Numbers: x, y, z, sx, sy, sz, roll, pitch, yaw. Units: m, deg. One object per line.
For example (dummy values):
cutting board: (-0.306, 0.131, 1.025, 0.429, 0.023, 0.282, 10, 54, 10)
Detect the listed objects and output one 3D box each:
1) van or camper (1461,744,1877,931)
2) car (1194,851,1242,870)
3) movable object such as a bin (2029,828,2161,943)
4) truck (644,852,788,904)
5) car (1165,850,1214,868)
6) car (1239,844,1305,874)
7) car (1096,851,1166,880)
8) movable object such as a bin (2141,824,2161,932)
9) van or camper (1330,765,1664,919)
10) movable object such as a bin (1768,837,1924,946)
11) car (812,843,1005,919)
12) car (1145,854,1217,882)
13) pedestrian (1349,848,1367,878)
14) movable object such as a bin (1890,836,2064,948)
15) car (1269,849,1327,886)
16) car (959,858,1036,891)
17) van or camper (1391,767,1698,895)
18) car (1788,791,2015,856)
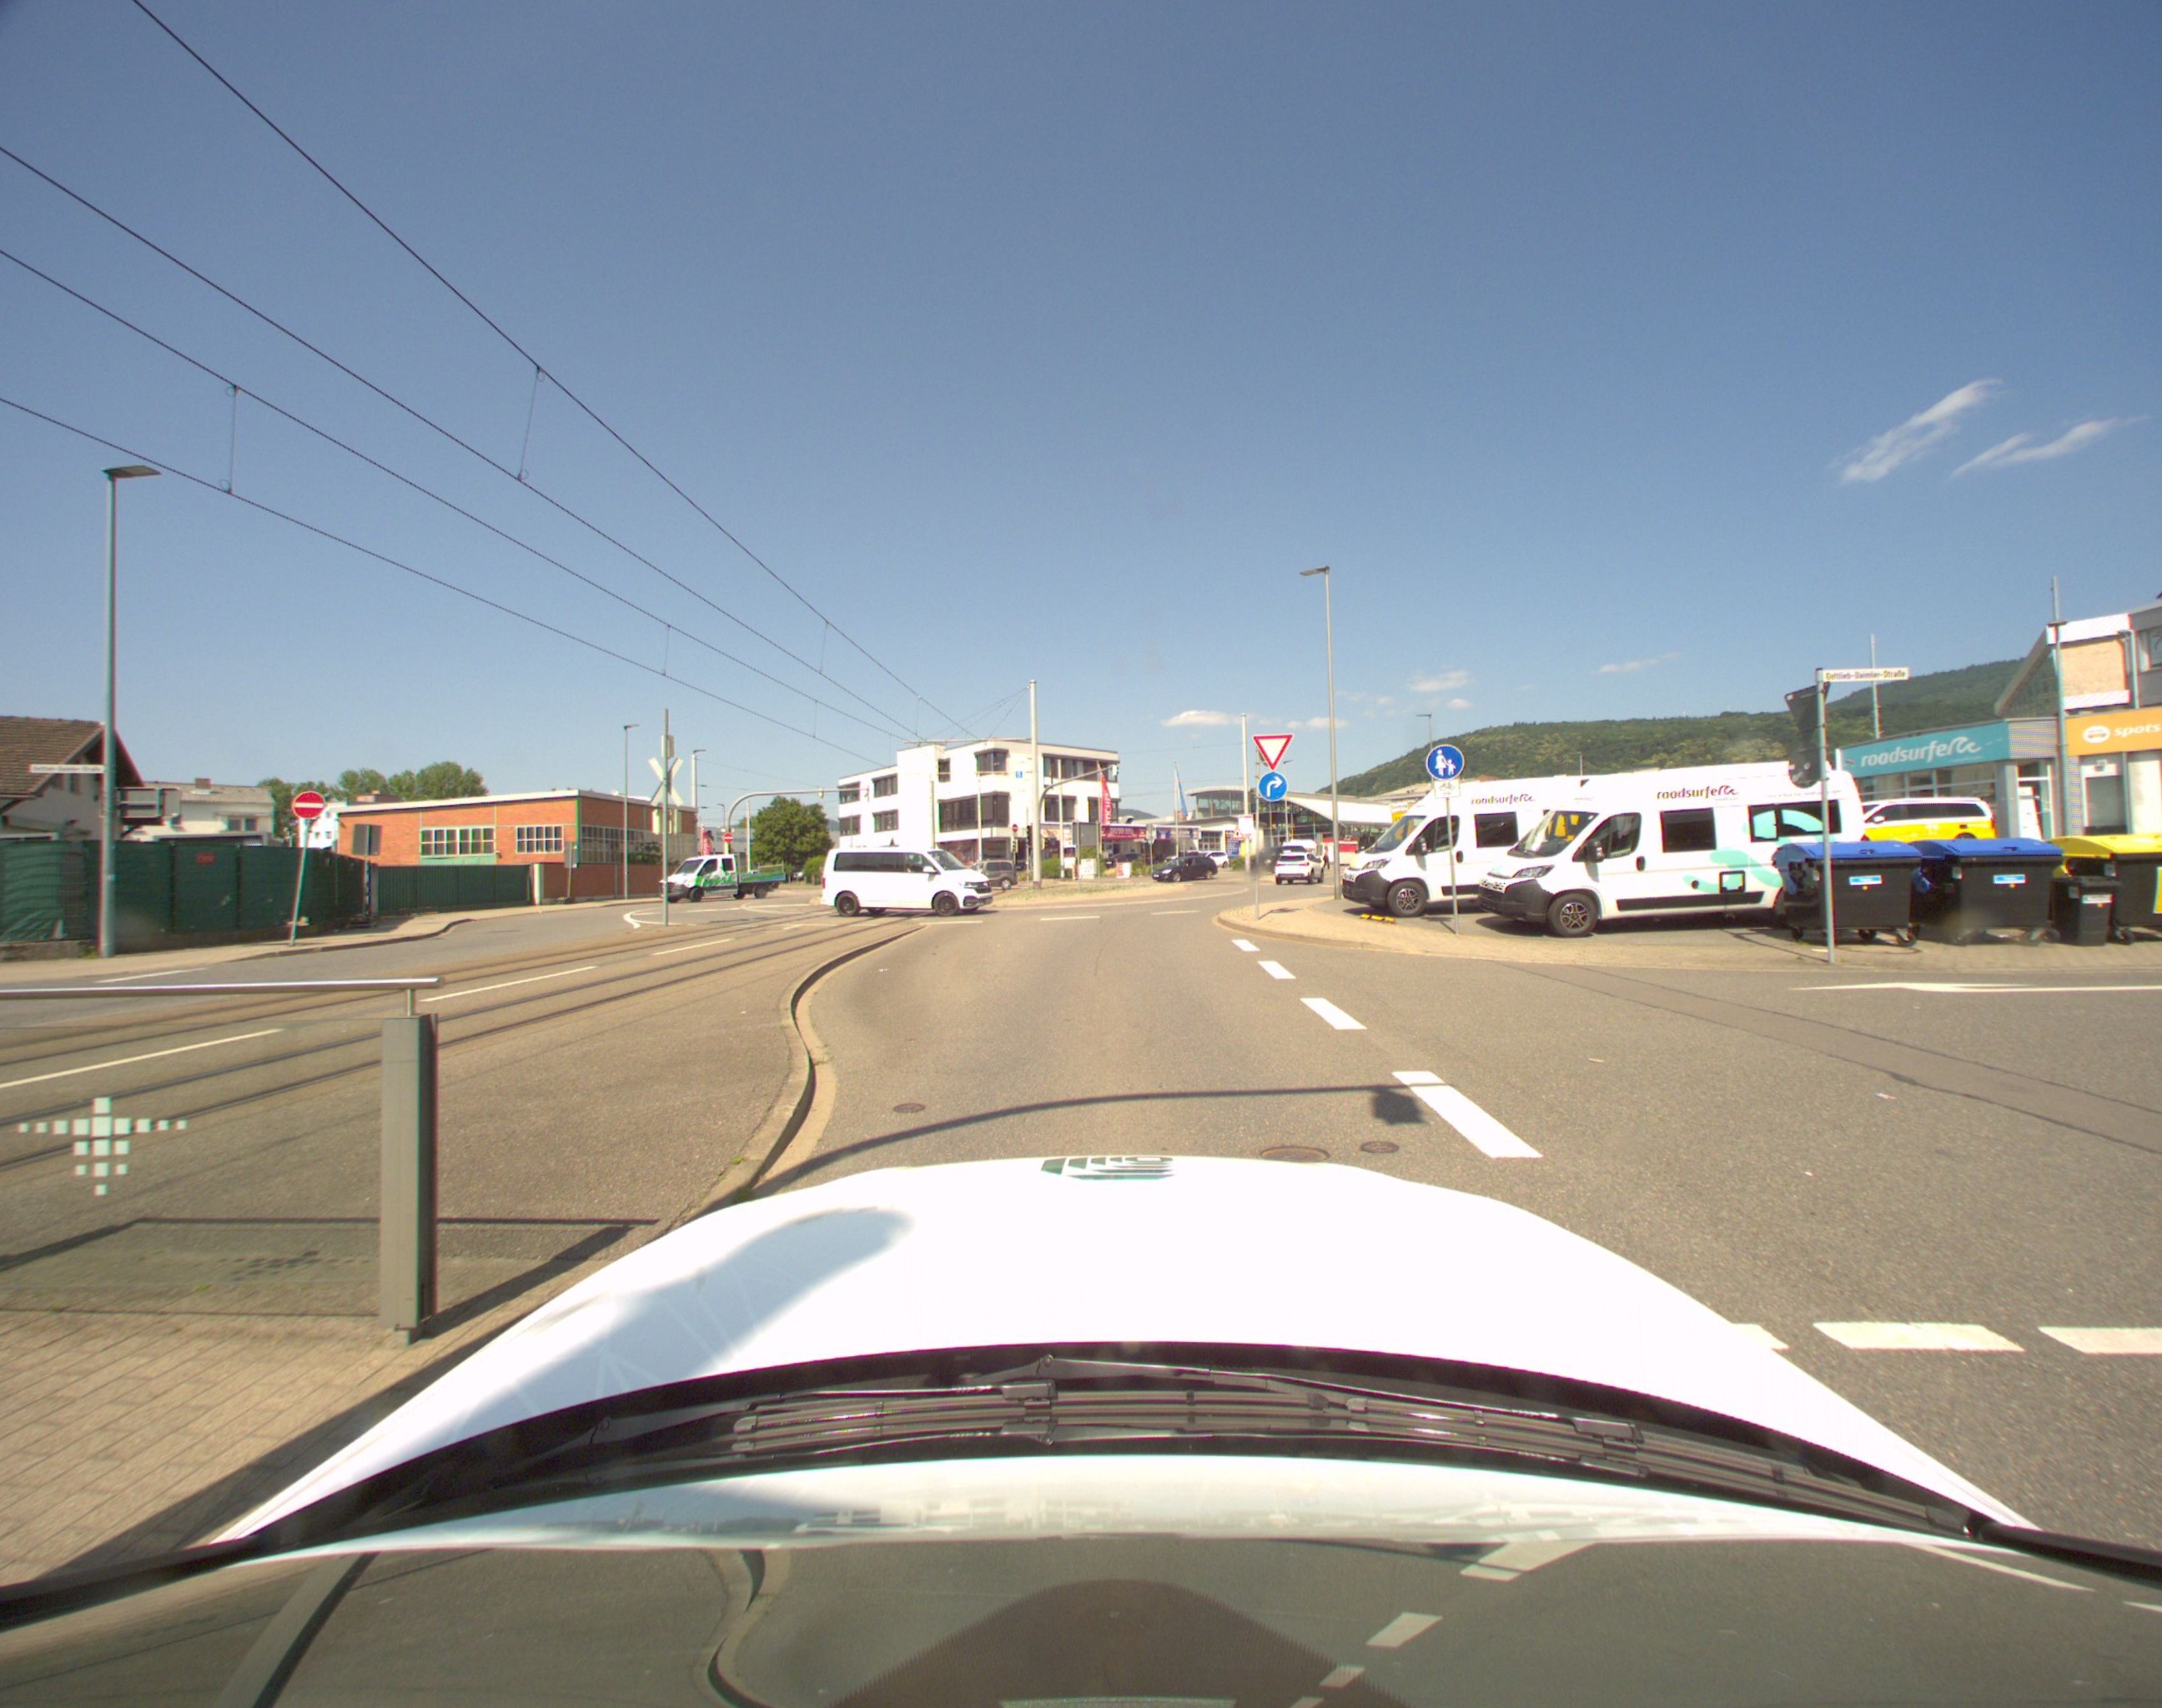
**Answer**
van or camper: (9.718, -0.256, 13.894, 5.479, 2.814, 2.051, -1, 1, 5)
car: (12.989, 0.608, 76.958, 1.863, 1.589, 4.957, -5, -3, 45)
movable object such as a bin: (14.245, 0.406, 11.185, 1.228, 1.475, 1.022, -2, 1, 9)
truck: (-18.107, 1.126, 40.812, 2.181, 2.337, 6.430, -2, -1, 33)
car: (9.539, 0.417, 71.308, 2.007, 1.427, 4.343, -2, -1, 44)
car: (13.342, 0.326, 56.817, 4.663, 1.910, 2.073, -2, 0, -40)
car: (3.775, 0.852, 60.650, 5.309, 1.966, 1.942, -1, -1, -41)
movable object such as a bin: (15.911, 0.331, 11.156, 1.322, 1.531, 1.067, -2, 1, 9)
van or camper: (8.410, -0.227, 16.972, 5.784, 2.773, 2.093, -2, 0, 4)
movable object such as a bin: (10.908, 0.515, 11.676, 1.244, 1.457, 1.083, -2, 1, 14)
car: (-4.943, 0.782, 23.591, 4.964, 2.014, 2.178, -2, -1, 15)
car: (6.287, 0.883, 51.230, 4.262, 1.556, 1.948, -2, -1, -36)
pedestrian: (15.720, 0.514, 46.264, 0.874, 1.636, 0.957, -2, -1, 14)
movable object such as a bin: (12.444, 0.507, 11.369, 1.277, 1.457, 1.023, -2, 1, 12)
car: (11.217, 0.646, 41.913, 1.975, 1.733, 4.591, -2, -1, 26)
car: (-4.924, 1.198, 48.248, 4.389, 1.818, 1.986, -2, -1, -6)
van or camper: (12.652, -0.588, 22.657, 7.035, 2.946, 2.336, -4, -1, 1)
car: (28.509, -1.014, 28.495, 5.423, 2.014, 2.142, -2, -1, 7)
